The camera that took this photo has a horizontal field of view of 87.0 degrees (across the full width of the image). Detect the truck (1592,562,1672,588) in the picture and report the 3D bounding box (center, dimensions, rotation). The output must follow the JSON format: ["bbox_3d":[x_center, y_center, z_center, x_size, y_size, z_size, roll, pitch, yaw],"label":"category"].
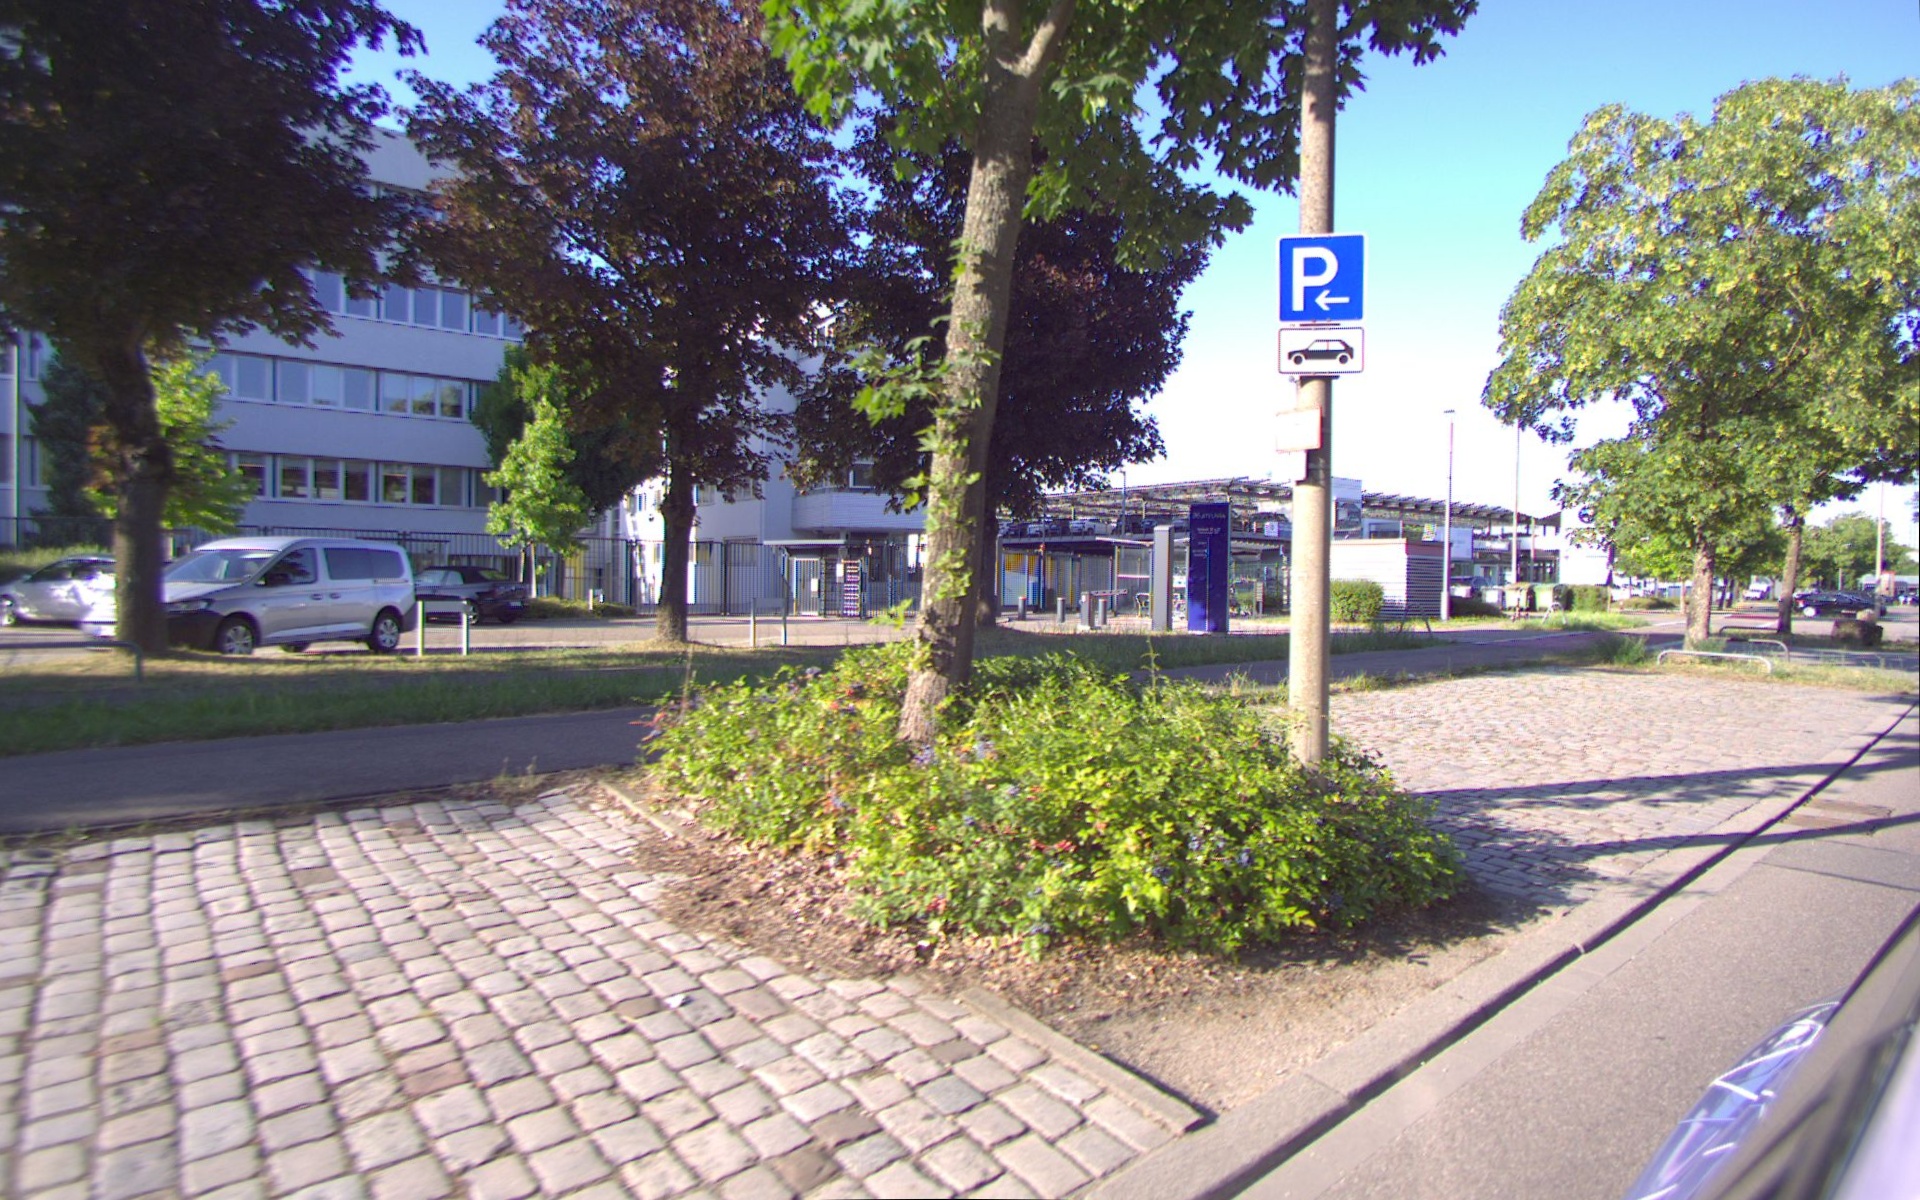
[{"bbox_3d":[99.258,-3.731,149.760,3.226,3.689,10.143,1,2,-15],"label":"truck"}]

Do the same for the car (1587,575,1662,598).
[{"bbox_3d":[56.542,-1.179,86.233,4.659,1.711,2.402,3,2,14],"label":"car"}]

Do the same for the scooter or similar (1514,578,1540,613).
[{"bbox_3d":[20.874,-0.171,37.229,0.520,1.288,1.181,2,1,45],"label":"scooter or similar"}]

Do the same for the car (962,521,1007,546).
[{"bbox_3d":[2.397,-6.470,98.937,4.125,2.128,1.998,1,-1,-39],"label":"car"}]

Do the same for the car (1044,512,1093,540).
[{"bbox_3d":[9.630,-6.560,89.700,4.125,2.128,1.998,1,-1,-39],"label":"car"}]

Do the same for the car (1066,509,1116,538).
[{"bbox_3d":[11.332,-6.582,87.423,4.125,2.128,1.998,1,-1,-39],"label":"car"}]

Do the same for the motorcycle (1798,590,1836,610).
[{"bbox_3d":[68.886,-0.029,81.365,2.108,1.484,0.942,3,2,25],"label":"motorcycle"}]

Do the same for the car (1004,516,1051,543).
[{"bbox_3d":[6.282,-6.522,93.639,4.125,2.128,1.998,1,-1,-39],"label":"car"}]

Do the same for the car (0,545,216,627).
[{"bbox_3d":[-18.007,-0.320,21.085,4.250,1.547,1.799,2,1,15],"label":"car"}]

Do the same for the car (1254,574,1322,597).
[{"bbox_3d":[22.230,-1.003,68.534,4.472,1.450,2.039,1,2,-34],"label":"car"}]

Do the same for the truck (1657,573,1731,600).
[{"bbox_3d":[102.466,-1.916,141.486,3.050,3.565,8.273,1,2,-14],"label":"truck"}]

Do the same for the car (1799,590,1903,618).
[{"bbox_3d":[52.377,0.213,59.617,4.476,1.421,2.004,2,2,40],"label":"car"}]

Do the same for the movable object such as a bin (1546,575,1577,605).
[{"bbox_3d":[29.909,-0.487,50.321,1.016,1.434,0.850,1,-1,-18],"label":"movable object such as a bin"}]

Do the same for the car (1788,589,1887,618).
[{"bbox_3d":[53.534,0.206,61.803,4.479,1.570,2.003,3,2,42],"label":"car"}]

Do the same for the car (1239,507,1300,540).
[{"bbox_3d":[23.884,-5.869,78.263,1.963,2.128,4.198,1,-1,-38],"label":"car"}]

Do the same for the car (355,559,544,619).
[{"bbox_3d":[-12.690,-0.299,25.249,3.936,1.371,1.802,1,1,11],"label":"car"}]

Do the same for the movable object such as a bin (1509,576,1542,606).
[{"bbox_3d":[28.907,-0.474,51.749,1.020,1.502,1.212,0,1,-43],"label":"movable object such as a bin"}]

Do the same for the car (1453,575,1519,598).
[{"bbox_3d":[44.290,-1.145,85.396,4.738,1.795,1.984,2,2,24],"label":"car"}]

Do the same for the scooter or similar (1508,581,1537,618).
[{"bbox_3d":[20.042,-0.009,36.035,0.520,1.288,1.365,2,1,45],"label":"scooter or similar"}]

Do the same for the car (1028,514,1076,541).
[{"bbox_3d":[8.369,-6.541,91.598,4.125,2.128,1.998,1,-1,-39],"label":"car"}]

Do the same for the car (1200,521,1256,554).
[{"bbox_3d":[20.051,-4.647,75.737,4.125,2.128,1.998,1,-1,-39],"label":"car"}]

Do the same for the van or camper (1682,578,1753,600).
[{"bbox_3d":[110.819,-1.664,148.170,2.880,2.935,8.031,1,2,-19],"label":"van or camper"}]

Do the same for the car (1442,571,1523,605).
[{"bbox_3d":[29.937,-0.684,57.964,4.880,1.850,2.039,1,2,-34],"label":"car"}]

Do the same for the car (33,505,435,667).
[{"bbox_3d":[-10.269,-0.197,14.955,1.966,1.958,4.943,1,0,7],"label":"car"}]

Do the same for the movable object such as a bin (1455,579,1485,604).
[{"bbox_3d":[27.346,-0.444,54.279,1.020,1.283,1.118,0,1,-43],"label":"movable object such as a bin"}]

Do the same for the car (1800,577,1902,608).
[{"bbox_3d":[56.223,-0.495,63.902,4.697,1.773,2.156,3,2,45],"label":"car"}]

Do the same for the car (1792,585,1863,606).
[{"bbox_3d":[76.888,-0.399,89.801,4.581,1.604,1.973,4,3,37],"label":"car"}]
